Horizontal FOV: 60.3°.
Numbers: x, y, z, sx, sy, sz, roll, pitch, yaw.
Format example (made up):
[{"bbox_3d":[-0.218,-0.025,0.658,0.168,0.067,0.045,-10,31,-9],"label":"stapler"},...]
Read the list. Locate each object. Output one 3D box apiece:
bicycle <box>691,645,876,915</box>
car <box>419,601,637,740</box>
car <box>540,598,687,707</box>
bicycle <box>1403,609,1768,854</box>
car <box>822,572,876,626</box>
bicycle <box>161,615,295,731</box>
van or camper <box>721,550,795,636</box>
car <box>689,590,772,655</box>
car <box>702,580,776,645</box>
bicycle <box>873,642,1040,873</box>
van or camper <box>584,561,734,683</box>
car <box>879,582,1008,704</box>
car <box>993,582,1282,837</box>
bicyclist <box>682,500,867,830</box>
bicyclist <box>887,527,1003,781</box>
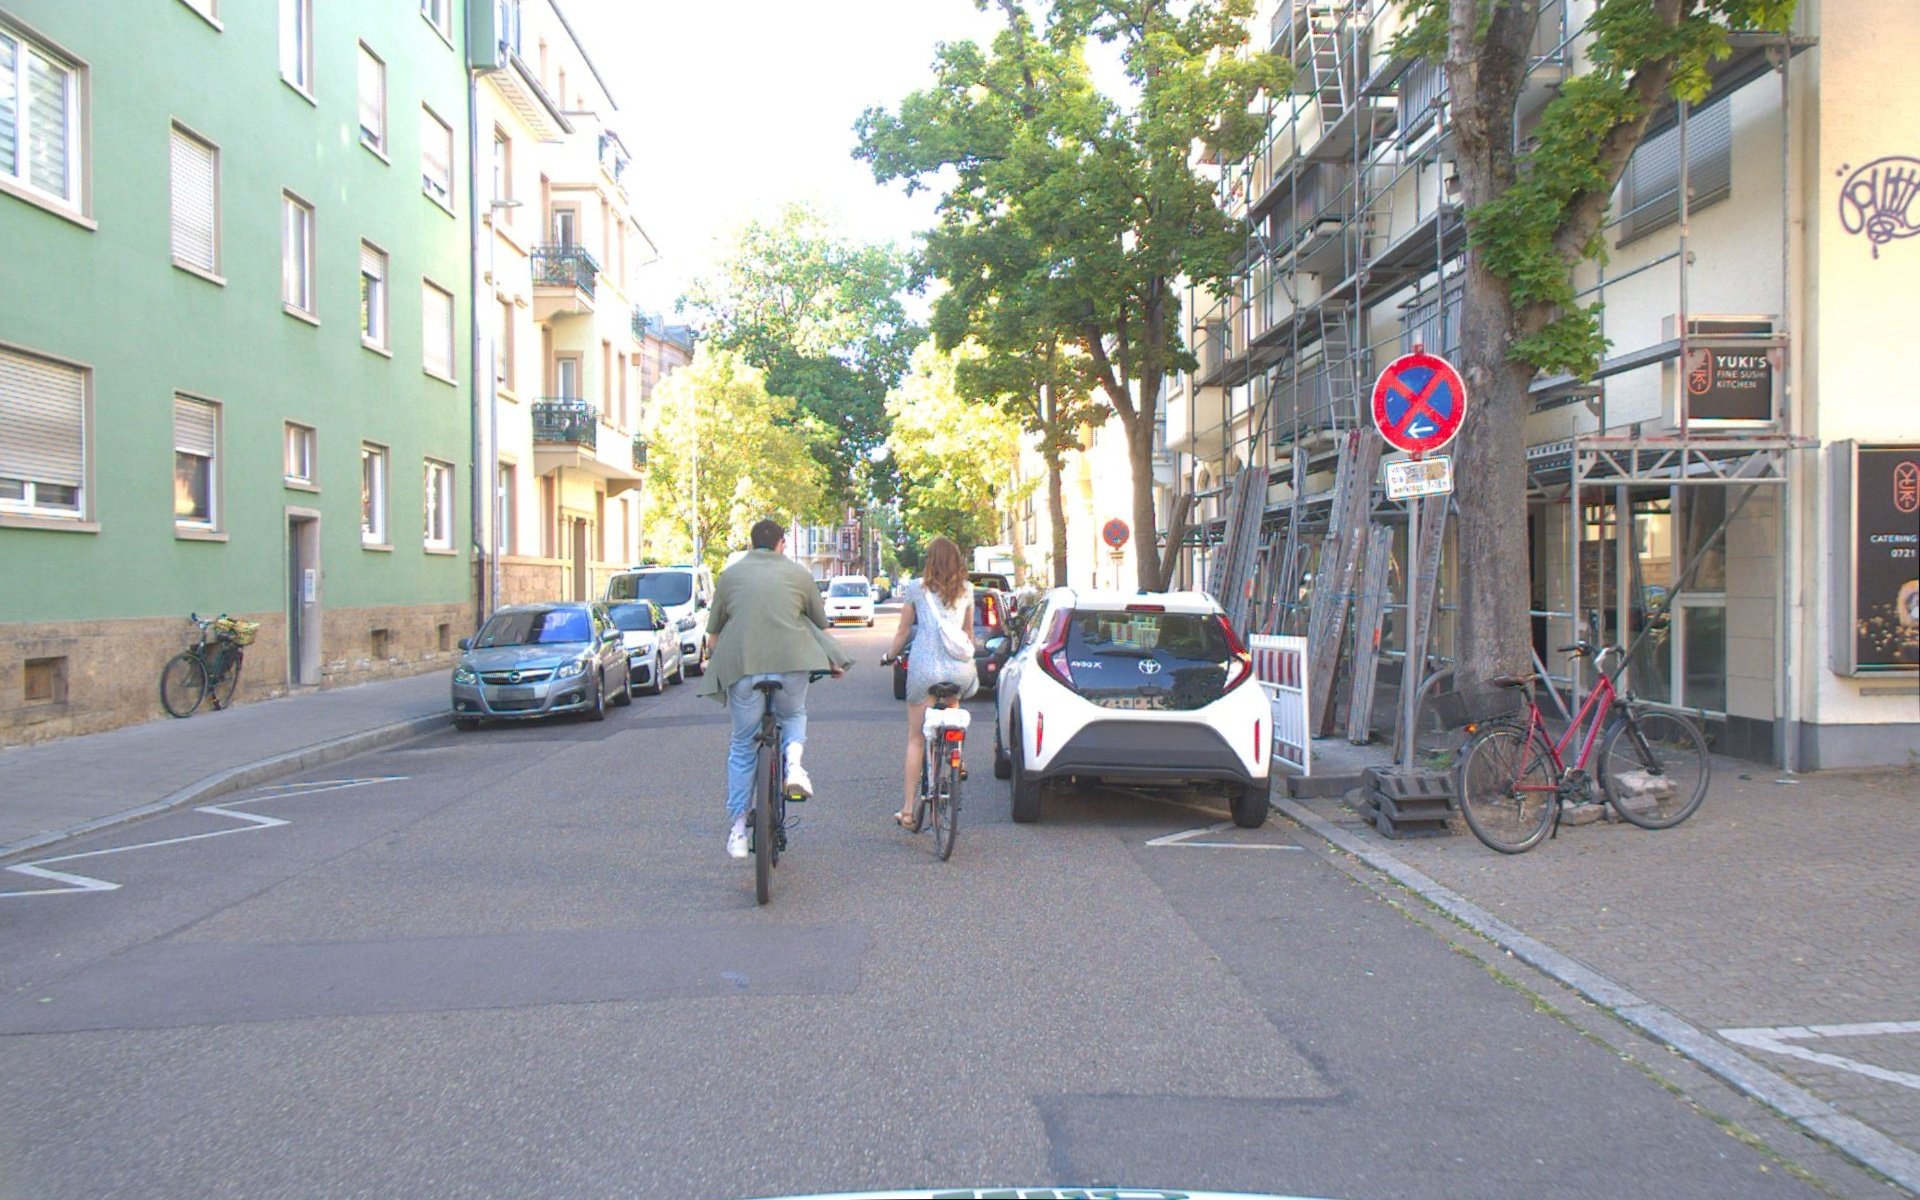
[{"bbox_3d":[-0.924,0.854,8.710,0.823,1.169,2.229,-1,0,-6],"label":"bicycle"},{"bbox_3d":[-5.286,0.795,20.784,1.940,1.481,4.109,-1,1,-5],"label":"car"},{"bbox_3d":[-5.338,0.762,25.899,1.653,1.479,3.708,-2,1,-3],"label":"car"},{"bbox_3d":[3.650,0.717,9.654,1.951,1.185,0.722,-4,1,-20],"label":"bicycle"},{"bbox_3d":[-4.037,-0.051,60.759,1.746,1.893,4.198,0,0,-1],"label":"car"},{"bbox_3d":[-8.435,0.807,19.159,0.539,1.198,2.278,2,1,-1],"label":"bicycle"},{"bbox_3d":[-6.473,-0.259,53.381,1.954,2.597,5.020,-1,1,-3],"label":"van or camper"},{"bbox_3d":[-5.883,0.532,42.765,1.676,1.531,3.999,-1,1,-2],"label":"car"},{"bbox_3d":[-6.305,0.324,47.446,1.676,1.729,3.999,-1,1,-2],"label":"car"},{"bbox_3d":[-0.074,0.870,9.955,0.822,1.169,2.230,1,0,-5],"label":"bicycle"},{"bbox_3d":[-5.593,0.357,31.337,1.953,2.048,4.910,-2,1,-1],"label":"van or camper"},{"bbox_3d":[-0.167,0.547,23.392,1.524,1.559,3.488,-1,1,4],"label":"car"},{"bbox_3d":[1.138,0.668,11.967,1.641,1.572,3.402,0,0,-1],"label":"car"},{"bbox_3d":[-0.942,0.331,8.547,0.864,1.589,0.867,-2,-3,-5],"label":"bicyclist"},{"bbox_3d":[-0.102,0.329,9.712,0.610,1.405,0.867,-2,-4,-2],"label":"bicyclist"}]
